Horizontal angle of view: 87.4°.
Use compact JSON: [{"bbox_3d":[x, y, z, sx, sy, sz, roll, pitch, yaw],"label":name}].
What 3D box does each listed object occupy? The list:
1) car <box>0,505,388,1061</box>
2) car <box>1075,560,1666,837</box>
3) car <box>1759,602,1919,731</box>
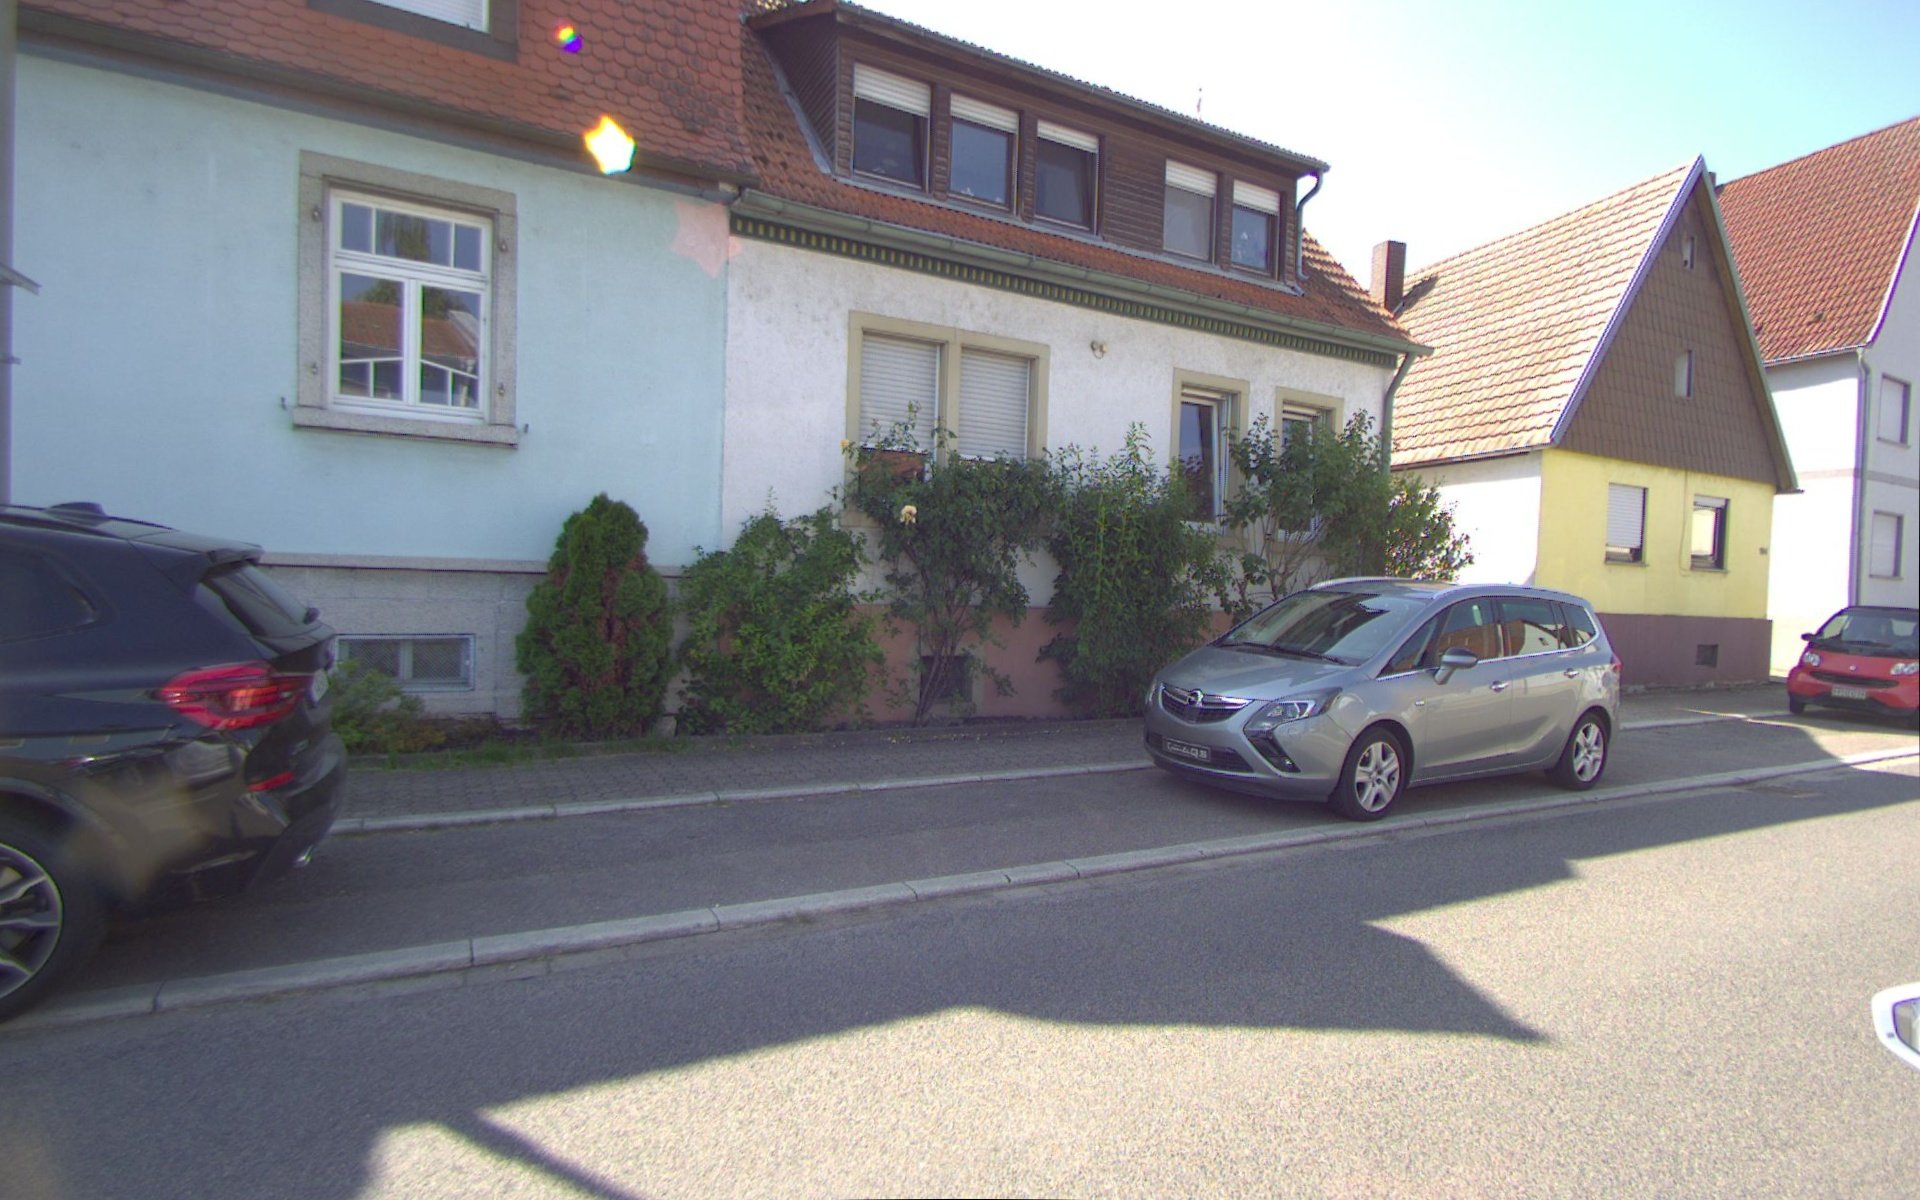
[{"bbox_3d":[-4.622,0.461,3.267,4.603,1.690,1.914,2,3,-26],"label":"car"},{"bbox_3d":[3.370,0.625,8.033,4.607,1.659,1.864,2,2,-29],"label":"car"},{"bbox_3d":[12.900,0.875,14.129,2.952,1.565,1.545,2,2,-30],"label":"car"}]
